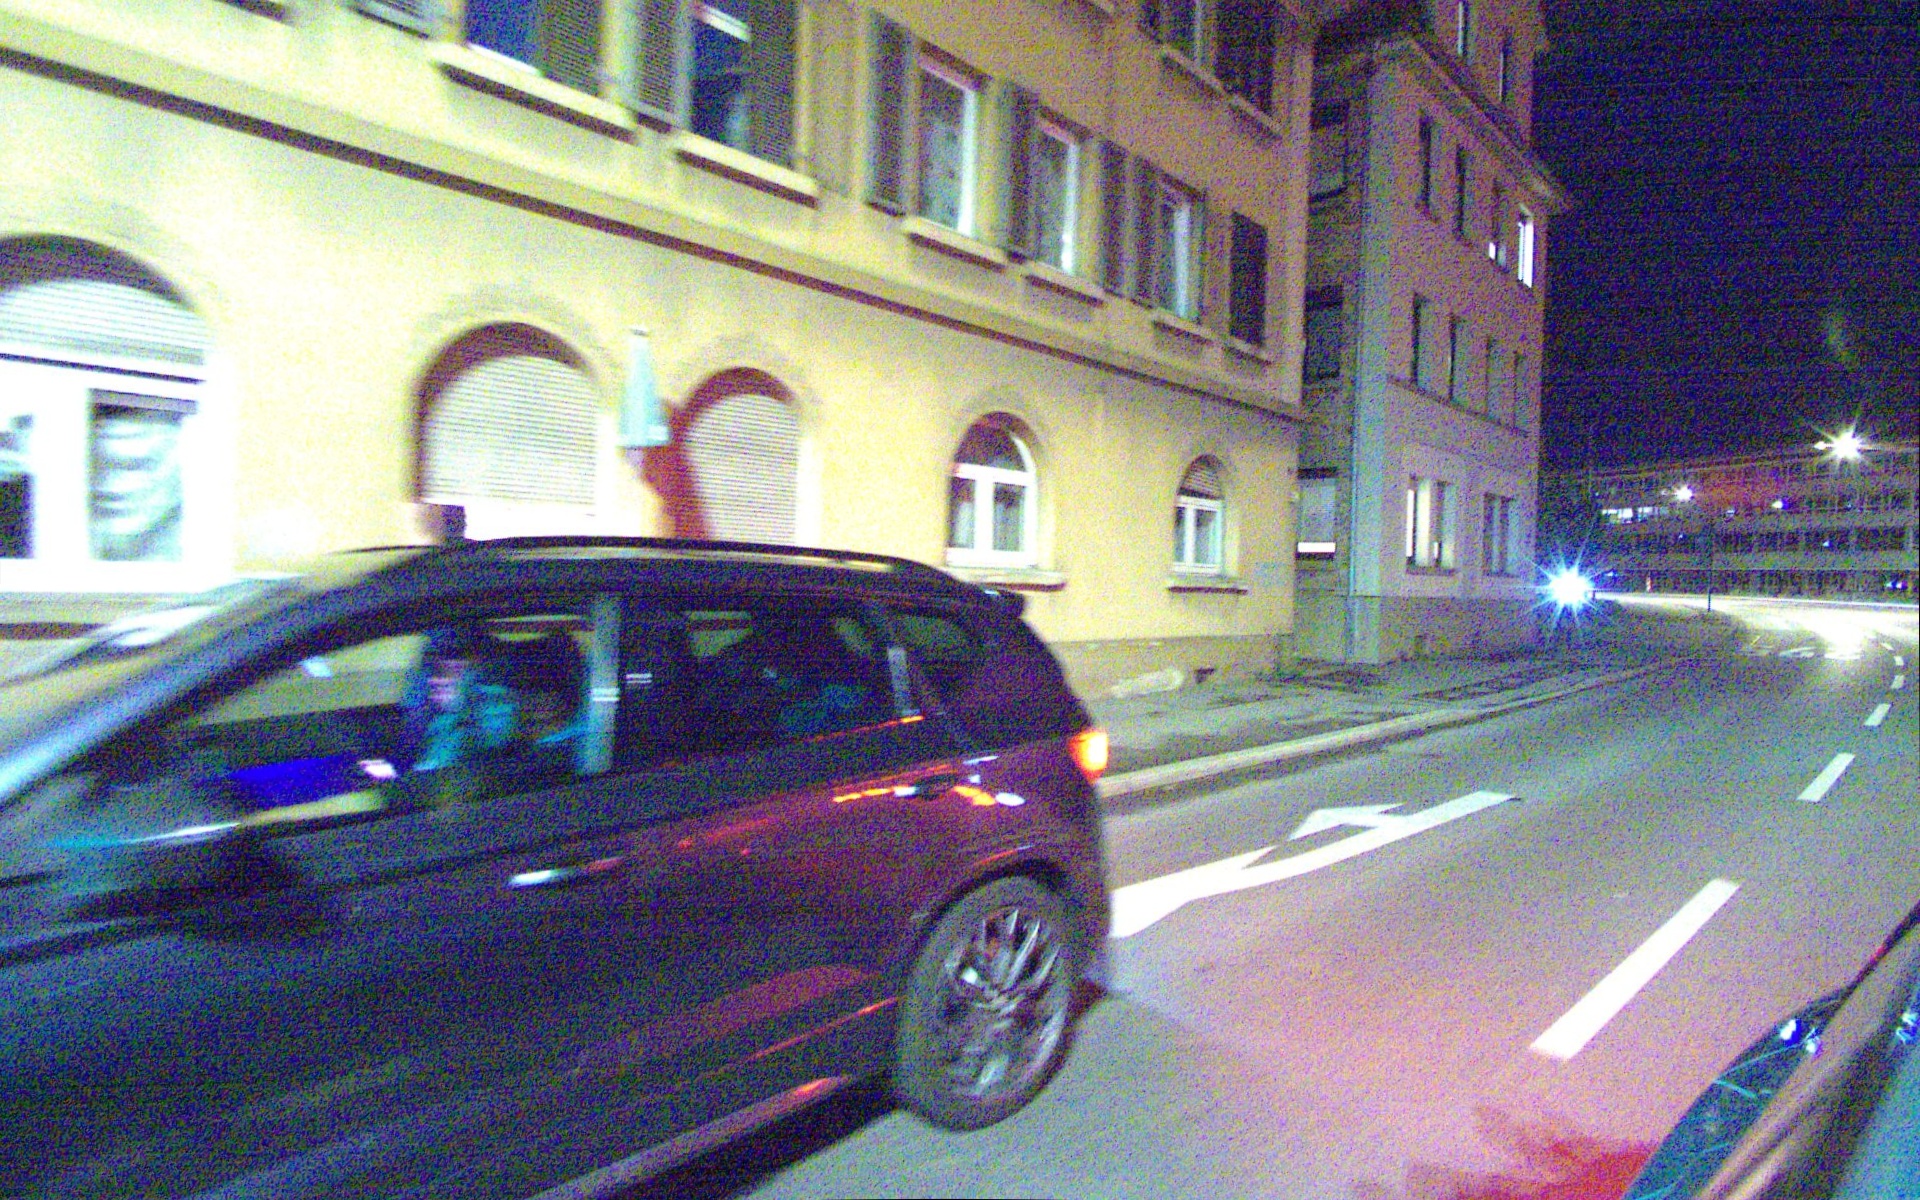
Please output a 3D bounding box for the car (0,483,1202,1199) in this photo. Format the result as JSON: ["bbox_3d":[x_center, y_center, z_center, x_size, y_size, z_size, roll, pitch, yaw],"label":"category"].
[{"bbox_3d":[-1.270,0.621,2.523,4.160,1.630,1.671,-2,2,-44],"label":"car"}]
